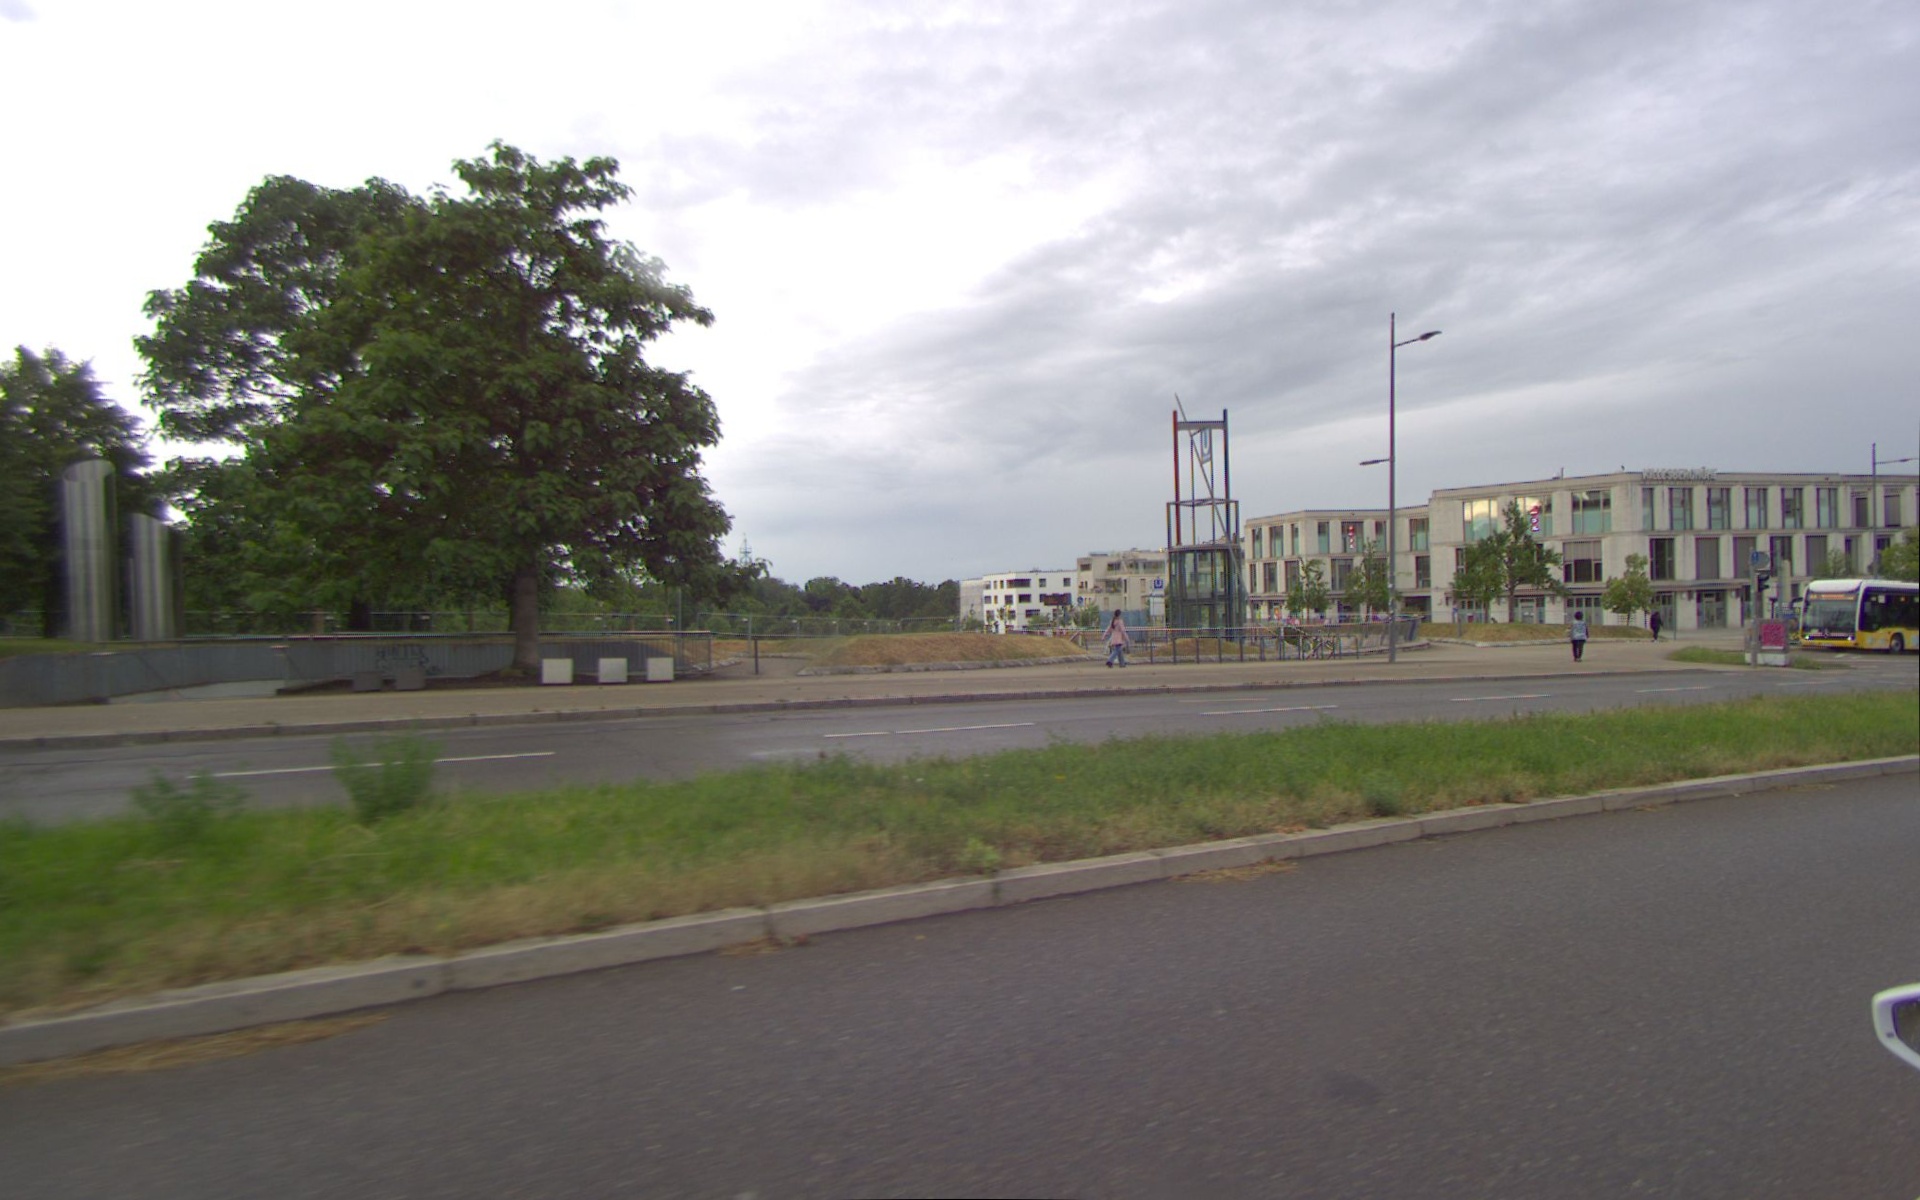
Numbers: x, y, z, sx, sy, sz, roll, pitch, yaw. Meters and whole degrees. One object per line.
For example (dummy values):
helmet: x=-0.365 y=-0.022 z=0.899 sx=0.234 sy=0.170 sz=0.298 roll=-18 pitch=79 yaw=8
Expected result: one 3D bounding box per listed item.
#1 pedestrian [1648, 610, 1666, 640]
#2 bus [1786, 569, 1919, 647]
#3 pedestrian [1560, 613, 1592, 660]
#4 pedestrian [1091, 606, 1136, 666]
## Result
pedestrian: x=37.021 y=1.324 z=53.338 sx=0.714 sy=1.544 sz=0.676 roll=3 pitch=-2 yaw=-43
bus: x=48.488 y=0.648 z=49.584 sx=17.939 sy=3.401 sz=2.783 roll=2 pitch=-2 yaw=-18
pedestrian: x=21.237 y=1.255 z=34.614 sx=0.824 sy=1.594 sz=0.716 roll=0 pitch=-2 yaw=41
pedestrian: x=4.258 y=0.996 z=27.877 sx=0.925 sy=1.642 sz=0.809 roll=2 pitch=-2 yaw=-33
